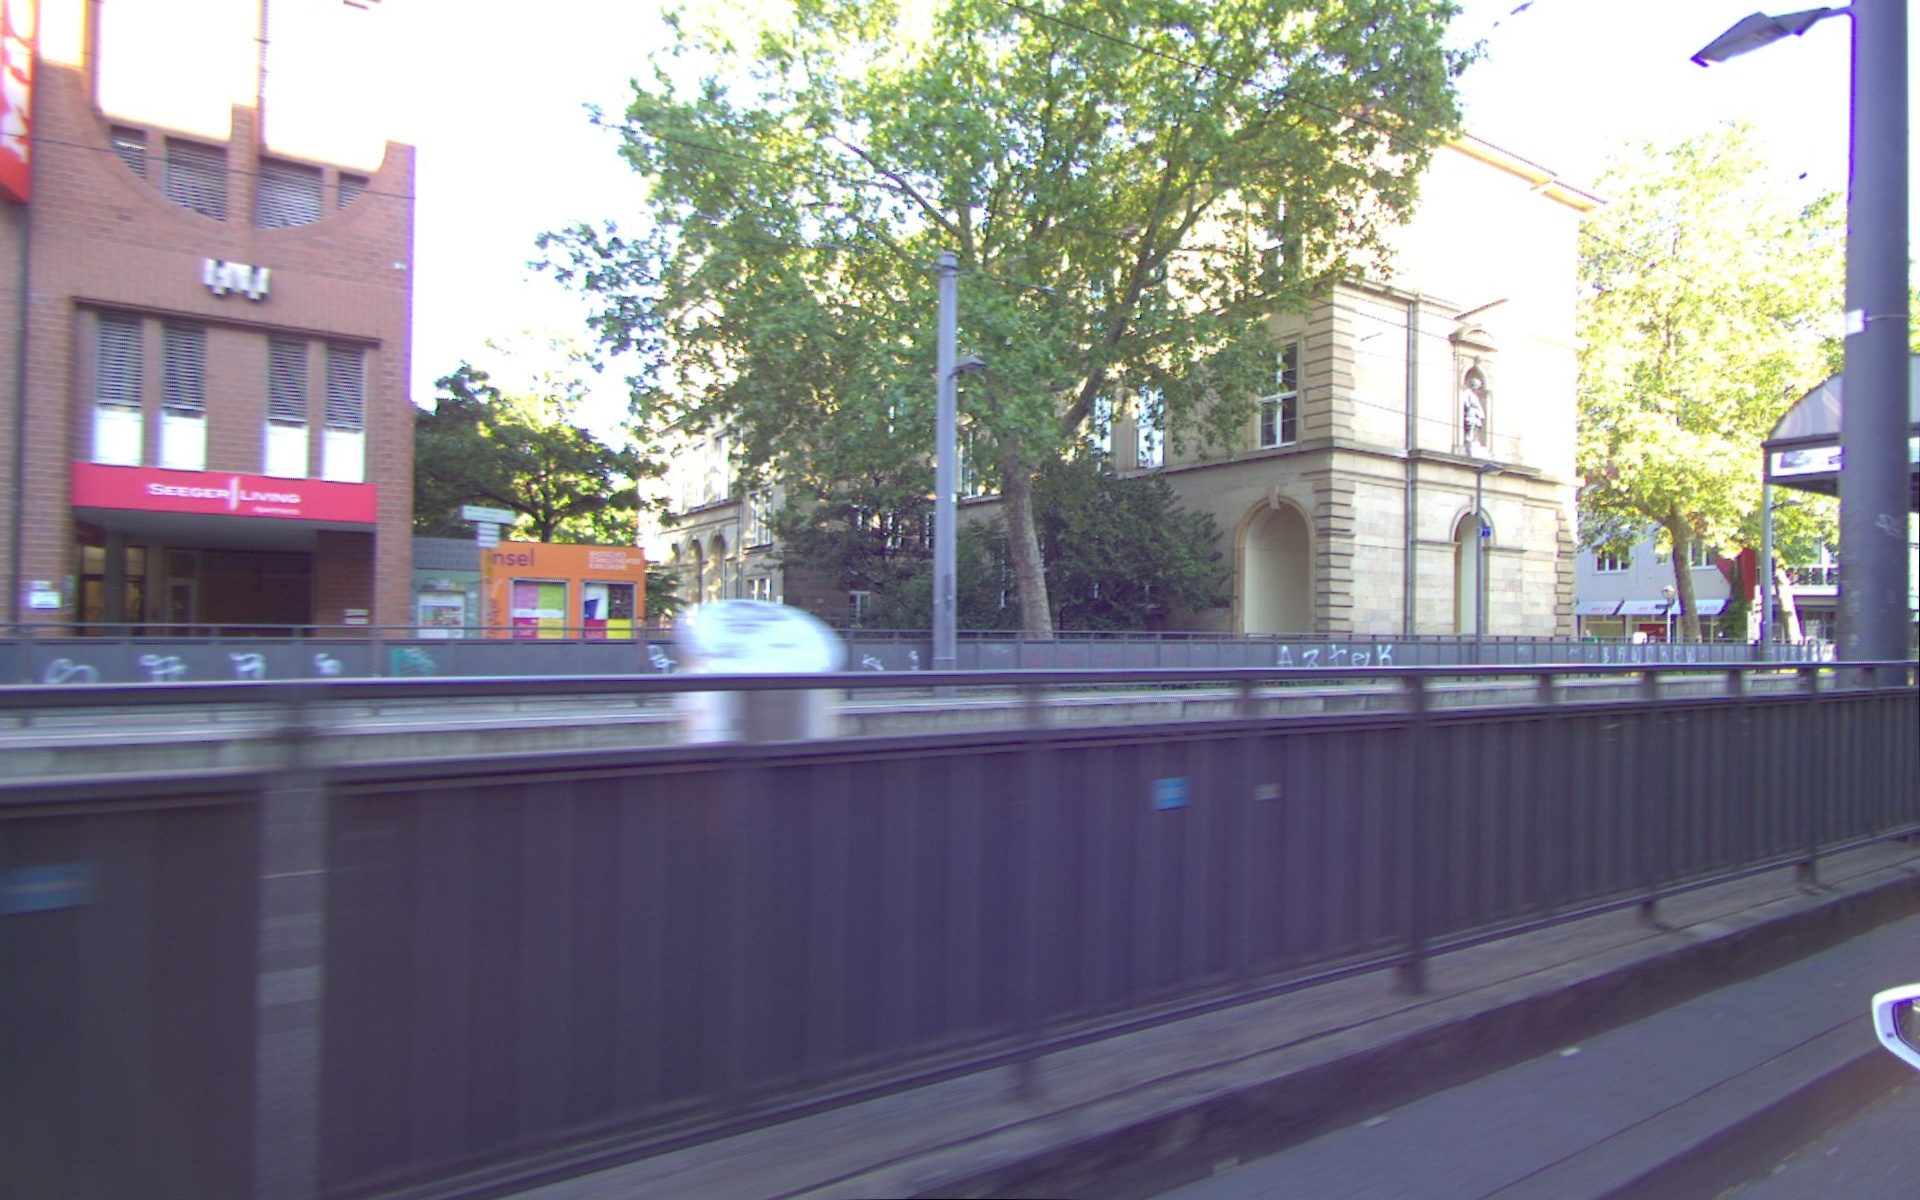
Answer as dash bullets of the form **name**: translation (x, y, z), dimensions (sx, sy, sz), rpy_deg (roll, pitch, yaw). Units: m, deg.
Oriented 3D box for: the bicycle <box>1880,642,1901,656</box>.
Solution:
- **bicycle**: translation (47.456, 2.483, 51.237), dimensions (1.793, 0.667, 0.452), rpy_deg (2, 1, -37)
